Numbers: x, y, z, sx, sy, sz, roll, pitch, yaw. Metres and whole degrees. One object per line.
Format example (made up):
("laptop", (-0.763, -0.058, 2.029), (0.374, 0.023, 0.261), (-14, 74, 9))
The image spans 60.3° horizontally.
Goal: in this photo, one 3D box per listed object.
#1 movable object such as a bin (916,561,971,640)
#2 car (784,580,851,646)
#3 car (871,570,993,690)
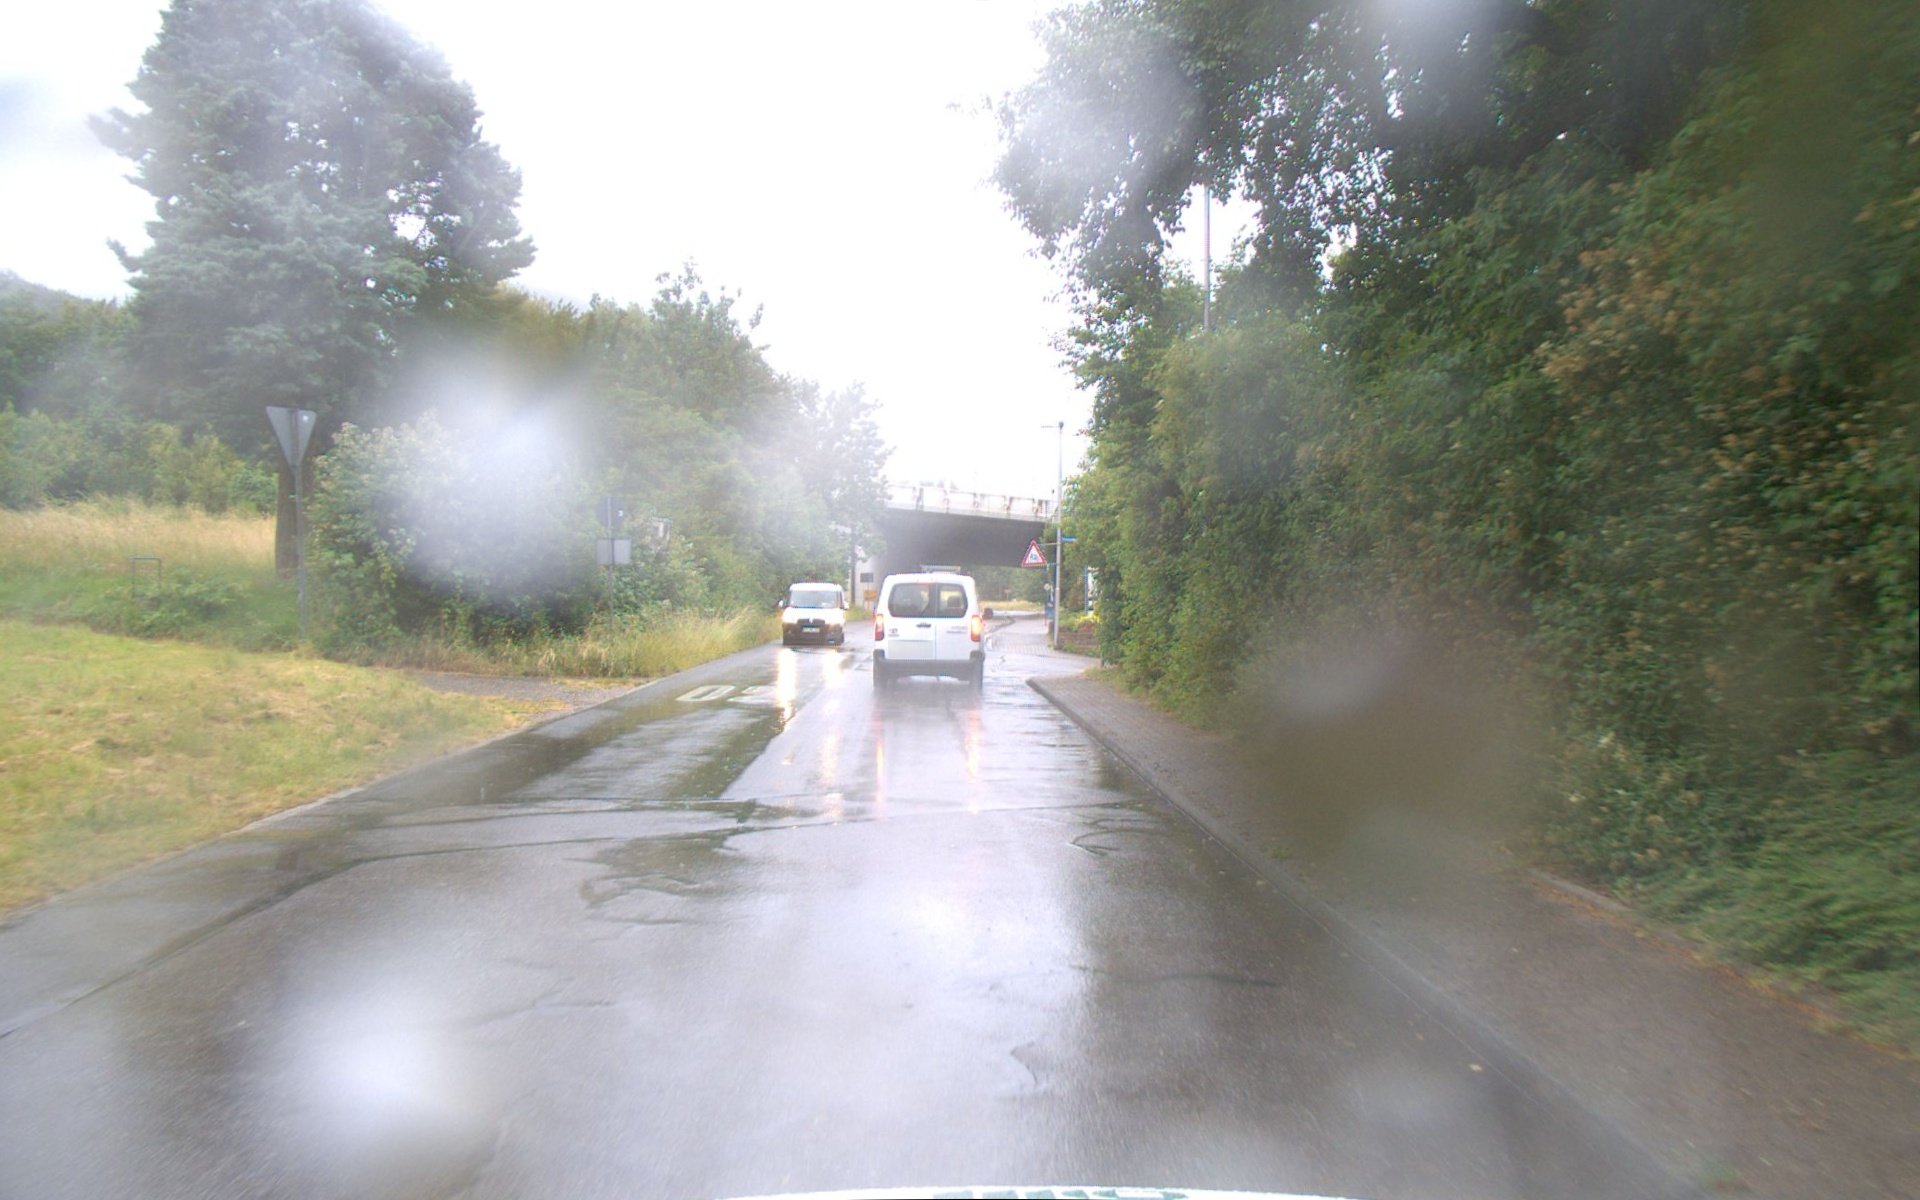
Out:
("movable object such as a bin", (-0.539, 0.008, 57.437), (1.725, 2.592, 4.239), (1, 0, 1))
("car", (-4.226, 0.359, 49.469), (1.787, 1.864, 4.305), (1, 0, -3))
("car", (-0.449, 0.428, 27.475), (1.858, 1.838, 4.000), (-1, 1, -1))
